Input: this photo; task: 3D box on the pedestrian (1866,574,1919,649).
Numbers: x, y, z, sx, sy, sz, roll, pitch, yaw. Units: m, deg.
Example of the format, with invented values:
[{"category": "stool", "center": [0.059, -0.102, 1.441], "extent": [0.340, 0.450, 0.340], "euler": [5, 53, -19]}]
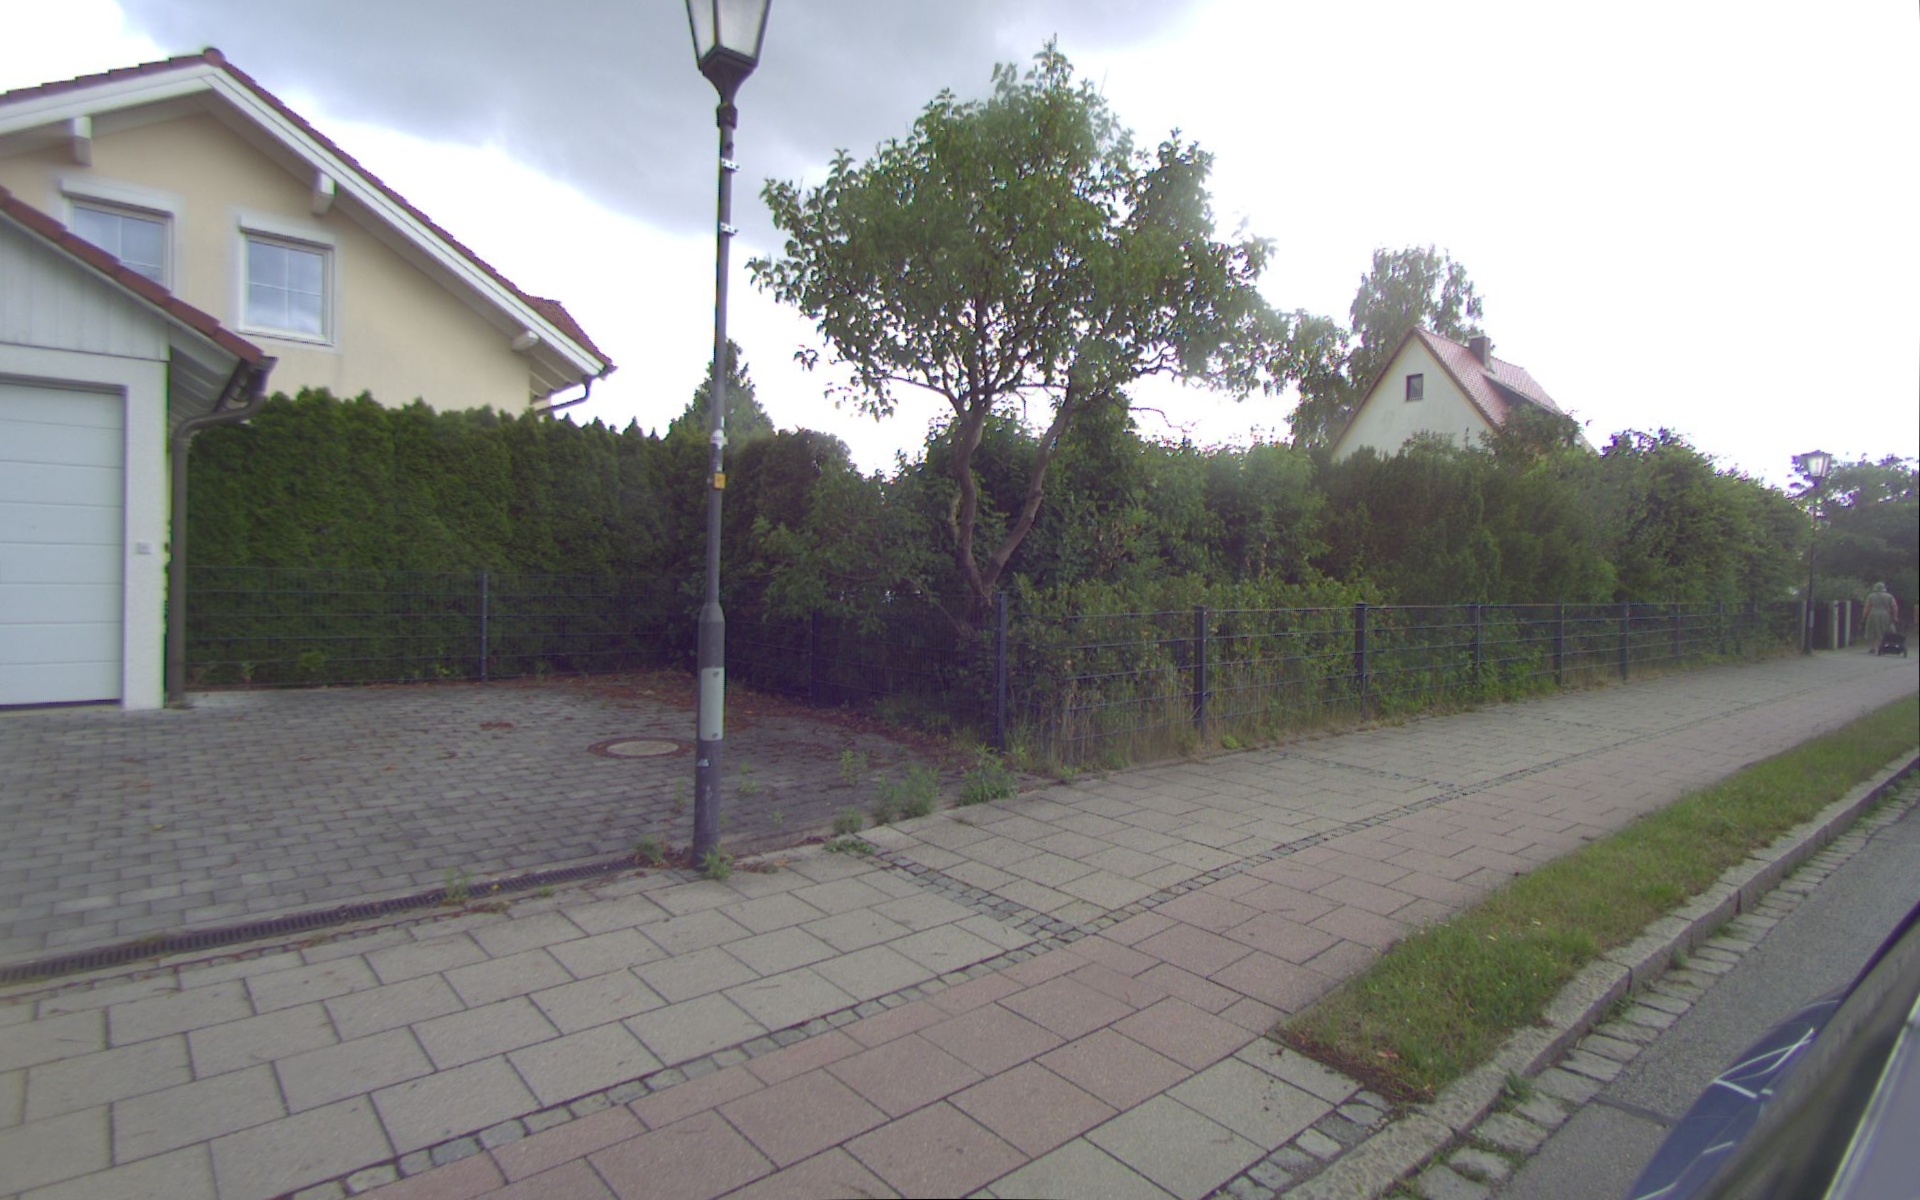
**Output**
[{"category": "pedestrian", "center": [20.902, 0.234, 22.647], "extent": [0.788, 1.622, 0.663], "euler": [2, 1, 35]}]

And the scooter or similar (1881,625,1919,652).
[{"category": "scooter or similar", "center": [20.554, 0.835, 22.041], "extent": [0.614, 0.563, 0.733], "euler": [1, 0, 33]}]
